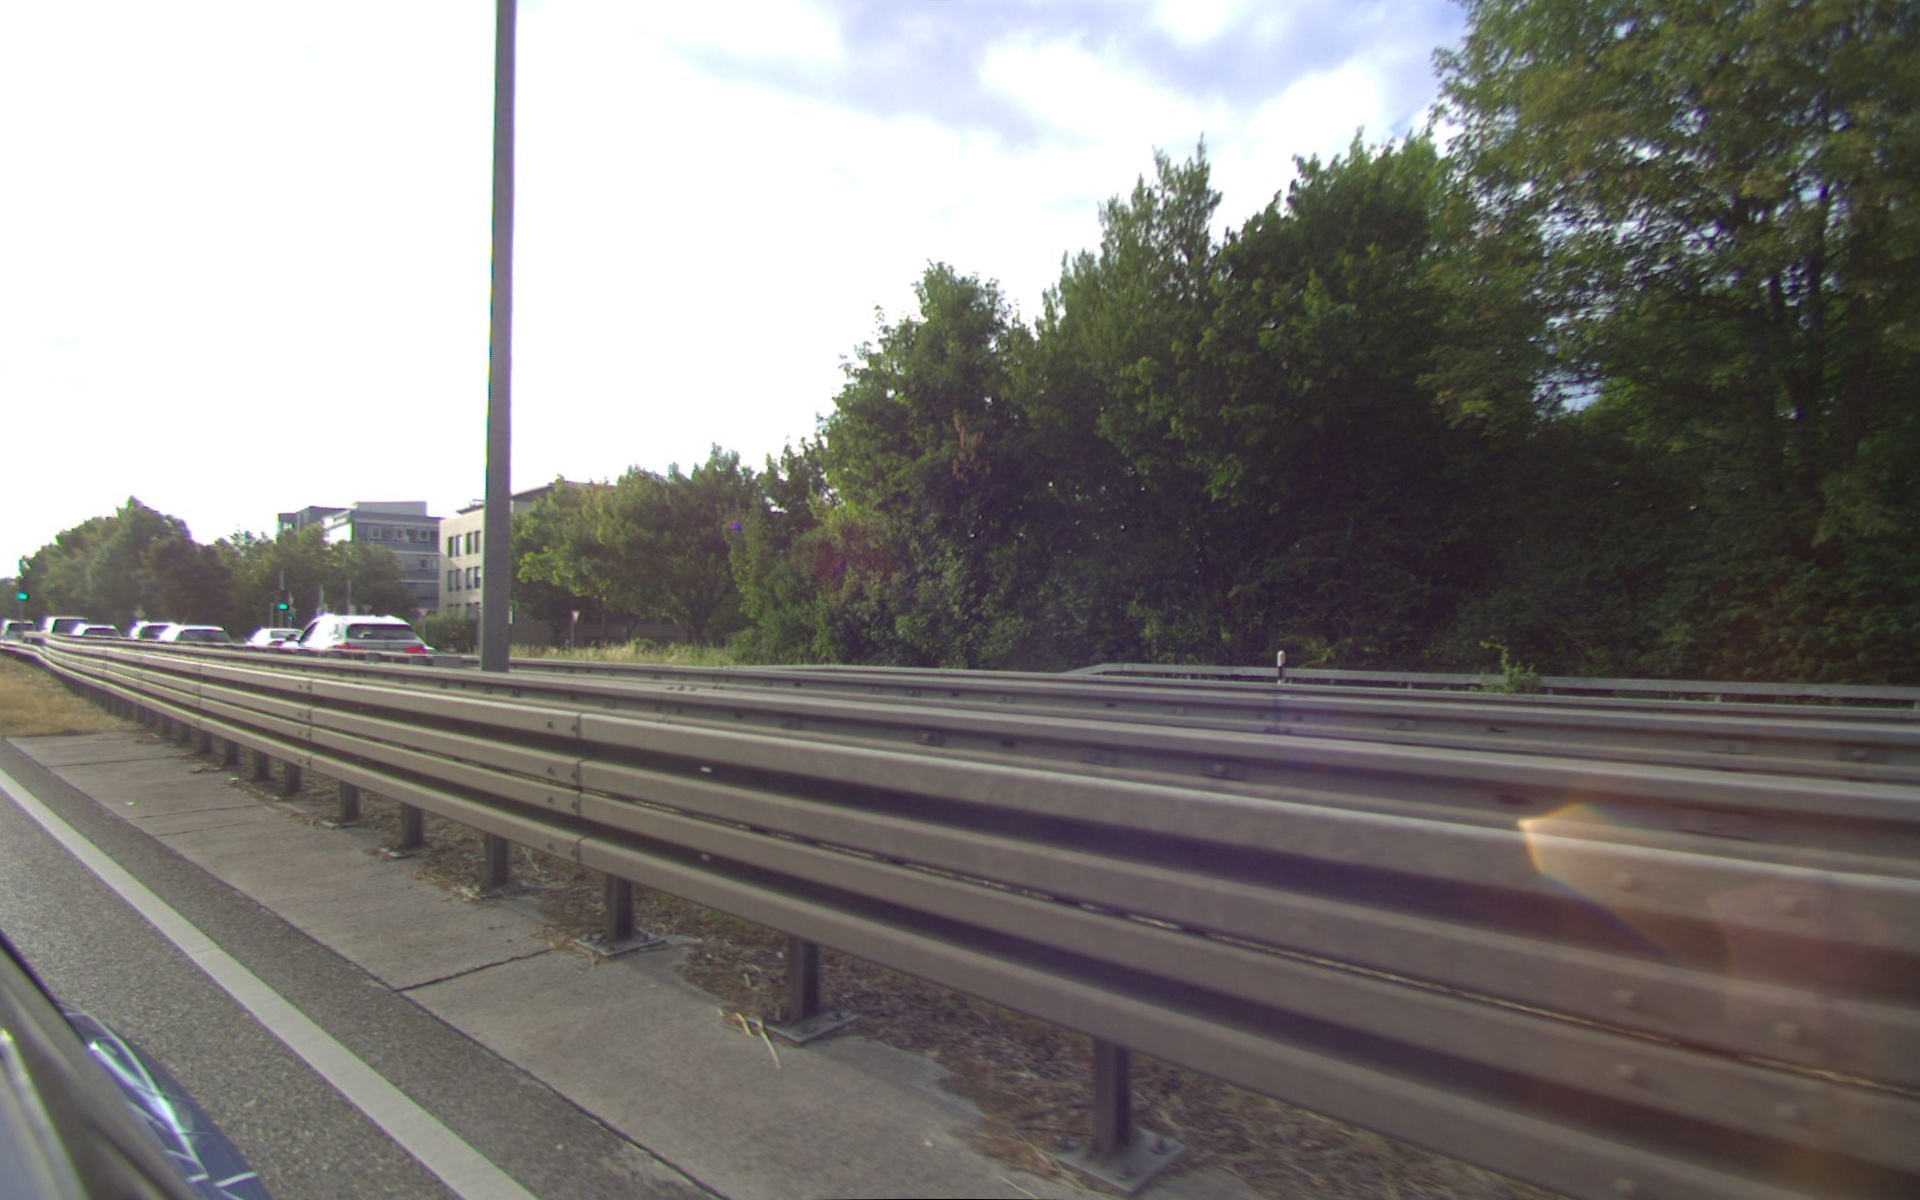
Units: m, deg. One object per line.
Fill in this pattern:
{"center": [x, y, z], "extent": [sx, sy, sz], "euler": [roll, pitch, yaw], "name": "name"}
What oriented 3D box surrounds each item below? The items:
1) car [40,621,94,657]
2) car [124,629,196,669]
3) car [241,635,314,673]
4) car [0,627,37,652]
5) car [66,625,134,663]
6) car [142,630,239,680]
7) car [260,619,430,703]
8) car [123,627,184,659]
{"center": [-50.057, 2.151, 56.686], "extent": [5.051, 1.931, 1.877], "euler": [-1, -1, 44], "name": "car"}
{"center": [-29.921, 1.834, 37.819], "extent": [3.462, 1.371, 1.539], "euler": [-3, -1, 42], "name": "car"}
{"center": [-25.567, 1.988, 37.874], "extent": [3.307, 1.364, 1.415], "euler": [-1, -2, 40], "name": "car"}
{"center": [-75.026, 3.138, 80.453], "extent": [5.346, 1.886, 1.914], "euler": [-1, -1, 42], "name": "car"}
{"center": [-38.702, 1.955, 45.513], "extent": [4.553, 1.601, 1.694], "euler": [-1, -2, 42], "name": "car"}
{"center": [-24.042, 1.666, 31.579], "extent": [3.733, 1.478, 1.700], "euler": [-1, -2, 42], "name": "car"}
{"center": [-13.242, 1.236, 21.675], "extent": [4.789, 1.596, 1.803], "euler": [-1, -2, 42], "name": "car"}
{"center": [-45.715, 2.418, 57.311], "extent": [4.846, 1.763, 2.011], "euler": [-1, -4, 44], "name": "car"}
